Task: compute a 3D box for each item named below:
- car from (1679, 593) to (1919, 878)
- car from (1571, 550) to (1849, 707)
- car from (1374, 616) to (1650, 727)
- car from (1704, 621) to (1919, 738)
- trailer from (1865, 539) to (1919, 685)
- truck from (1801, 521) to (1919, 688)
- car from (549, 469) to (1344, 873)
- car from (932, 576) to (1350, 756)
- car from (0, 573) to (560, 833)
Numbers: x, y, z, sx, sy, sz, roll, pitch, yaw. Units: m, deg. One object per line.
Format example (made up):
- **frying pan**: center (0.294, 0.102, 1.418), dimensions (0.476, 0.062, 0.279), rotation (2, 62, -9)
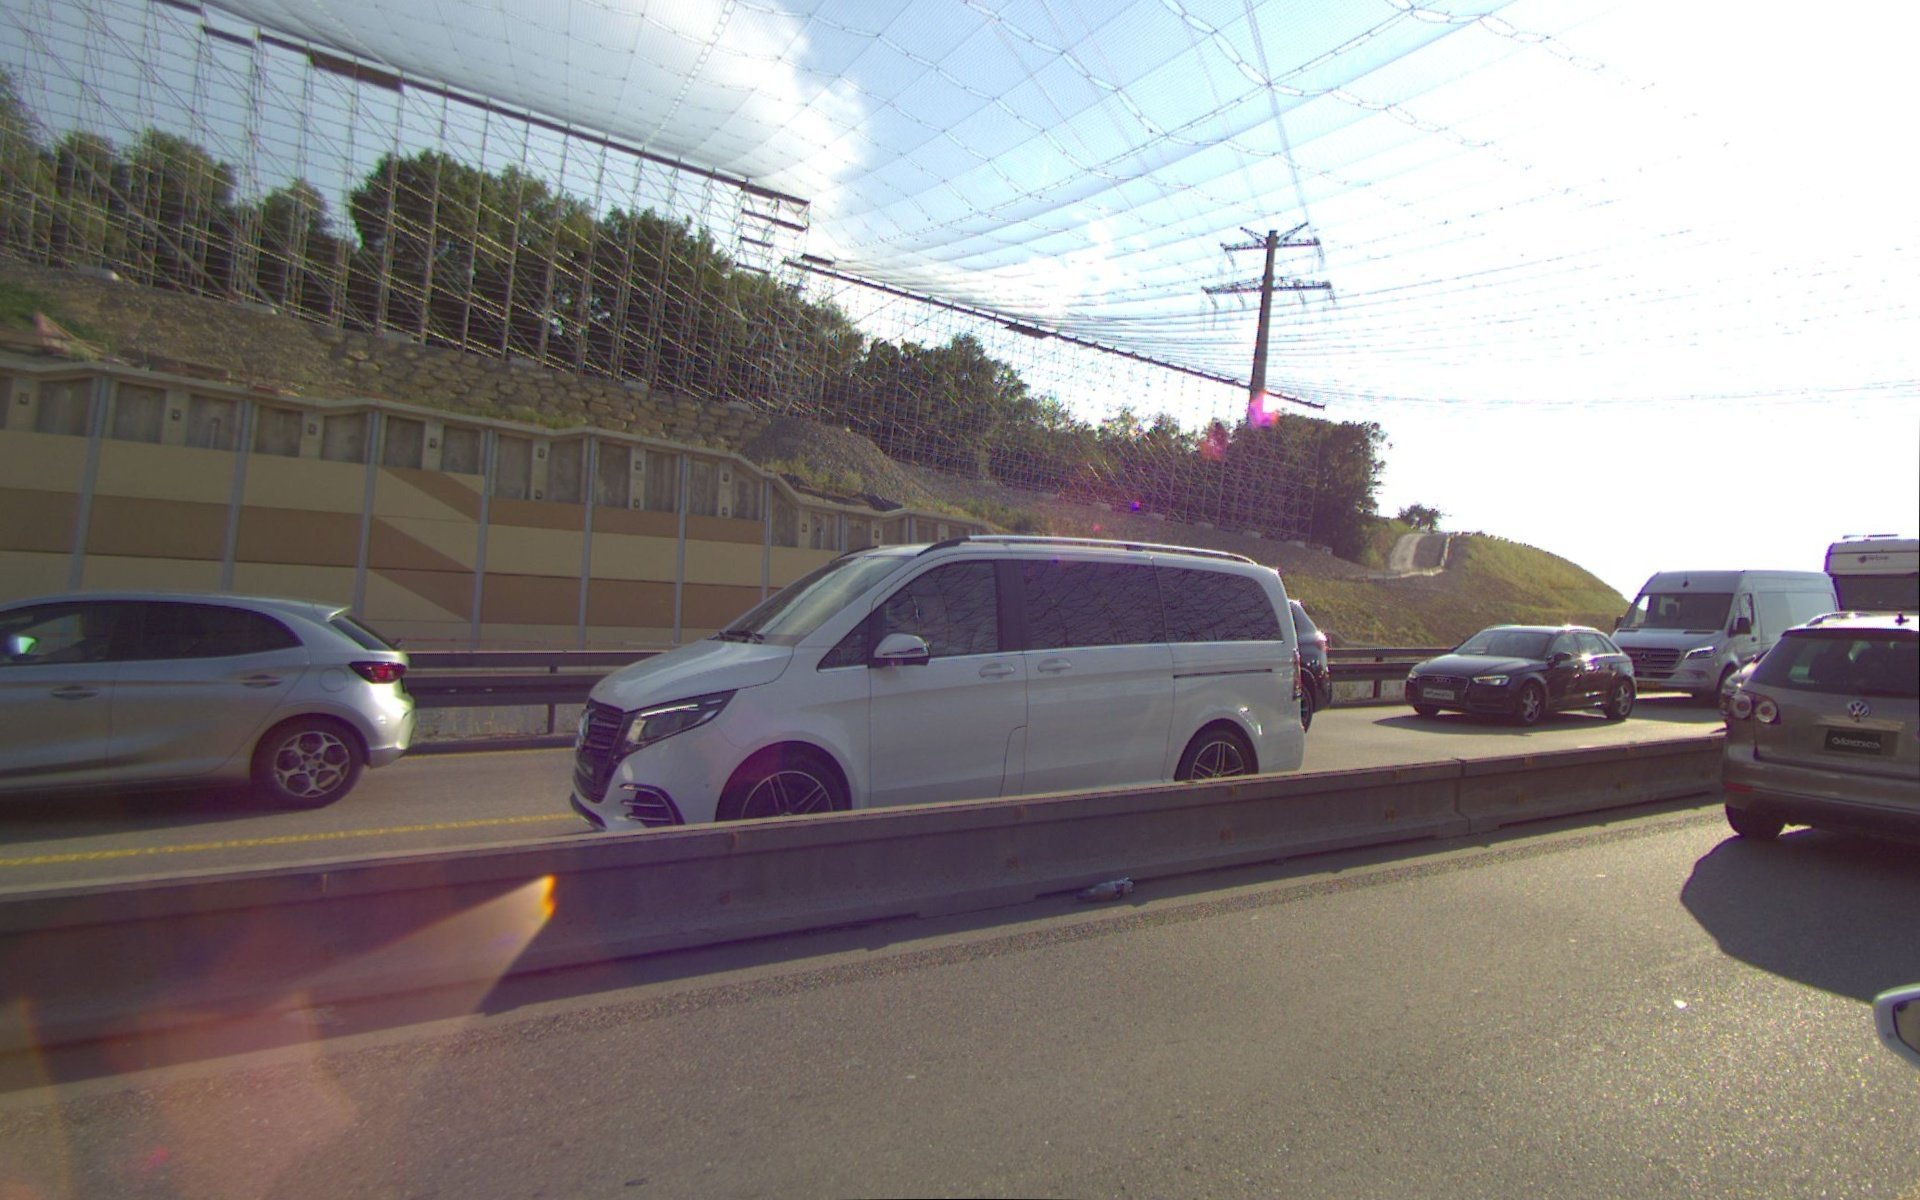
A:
- **car**: center (7.017, 0.828, 7.039), dimensions (3.952, 1.617, 1.684), rotation (2, 0, -29)
- **car**: center (15.415, 0.591, 20.463), dimensions (7.006, 2.749, 2.228), rotation (2, 0, -33)
- **car**: center (8.541, 1.041, 15.453), dimensions (4.331, 1.456, 1.783), rotation (2, 0, -31)
- **car**: center (12.918, 1.088, 14.782), dimensions (4.472, 1.438, 1.797), rotation (2, 0, -34)
- **trailer**: center (32.318, 0.513, 31.665), dimensions (13.199, 4.069, 2.652), rotation (2, 0, -35)
- **truck**: center (25.297, 0.190, 26.663), dimensions (7.130, 3.962, 2.615), rotation (2, 0, -34)
- **car**: center (0.141, 0.399, 6.850), dimensions (5.222, 1.894, 1.799), rotation (2, 0, -32)
- **car**: center (2.246, 0.704, 11.857), dimensions (4.881, 1.750, 1.814), rotation (2, 0, -32)
- **car**: center (-5.602, 0.632, 7.186), dimensions (4.854, 1.560, 1.783), rotation (2, 0, -31)
